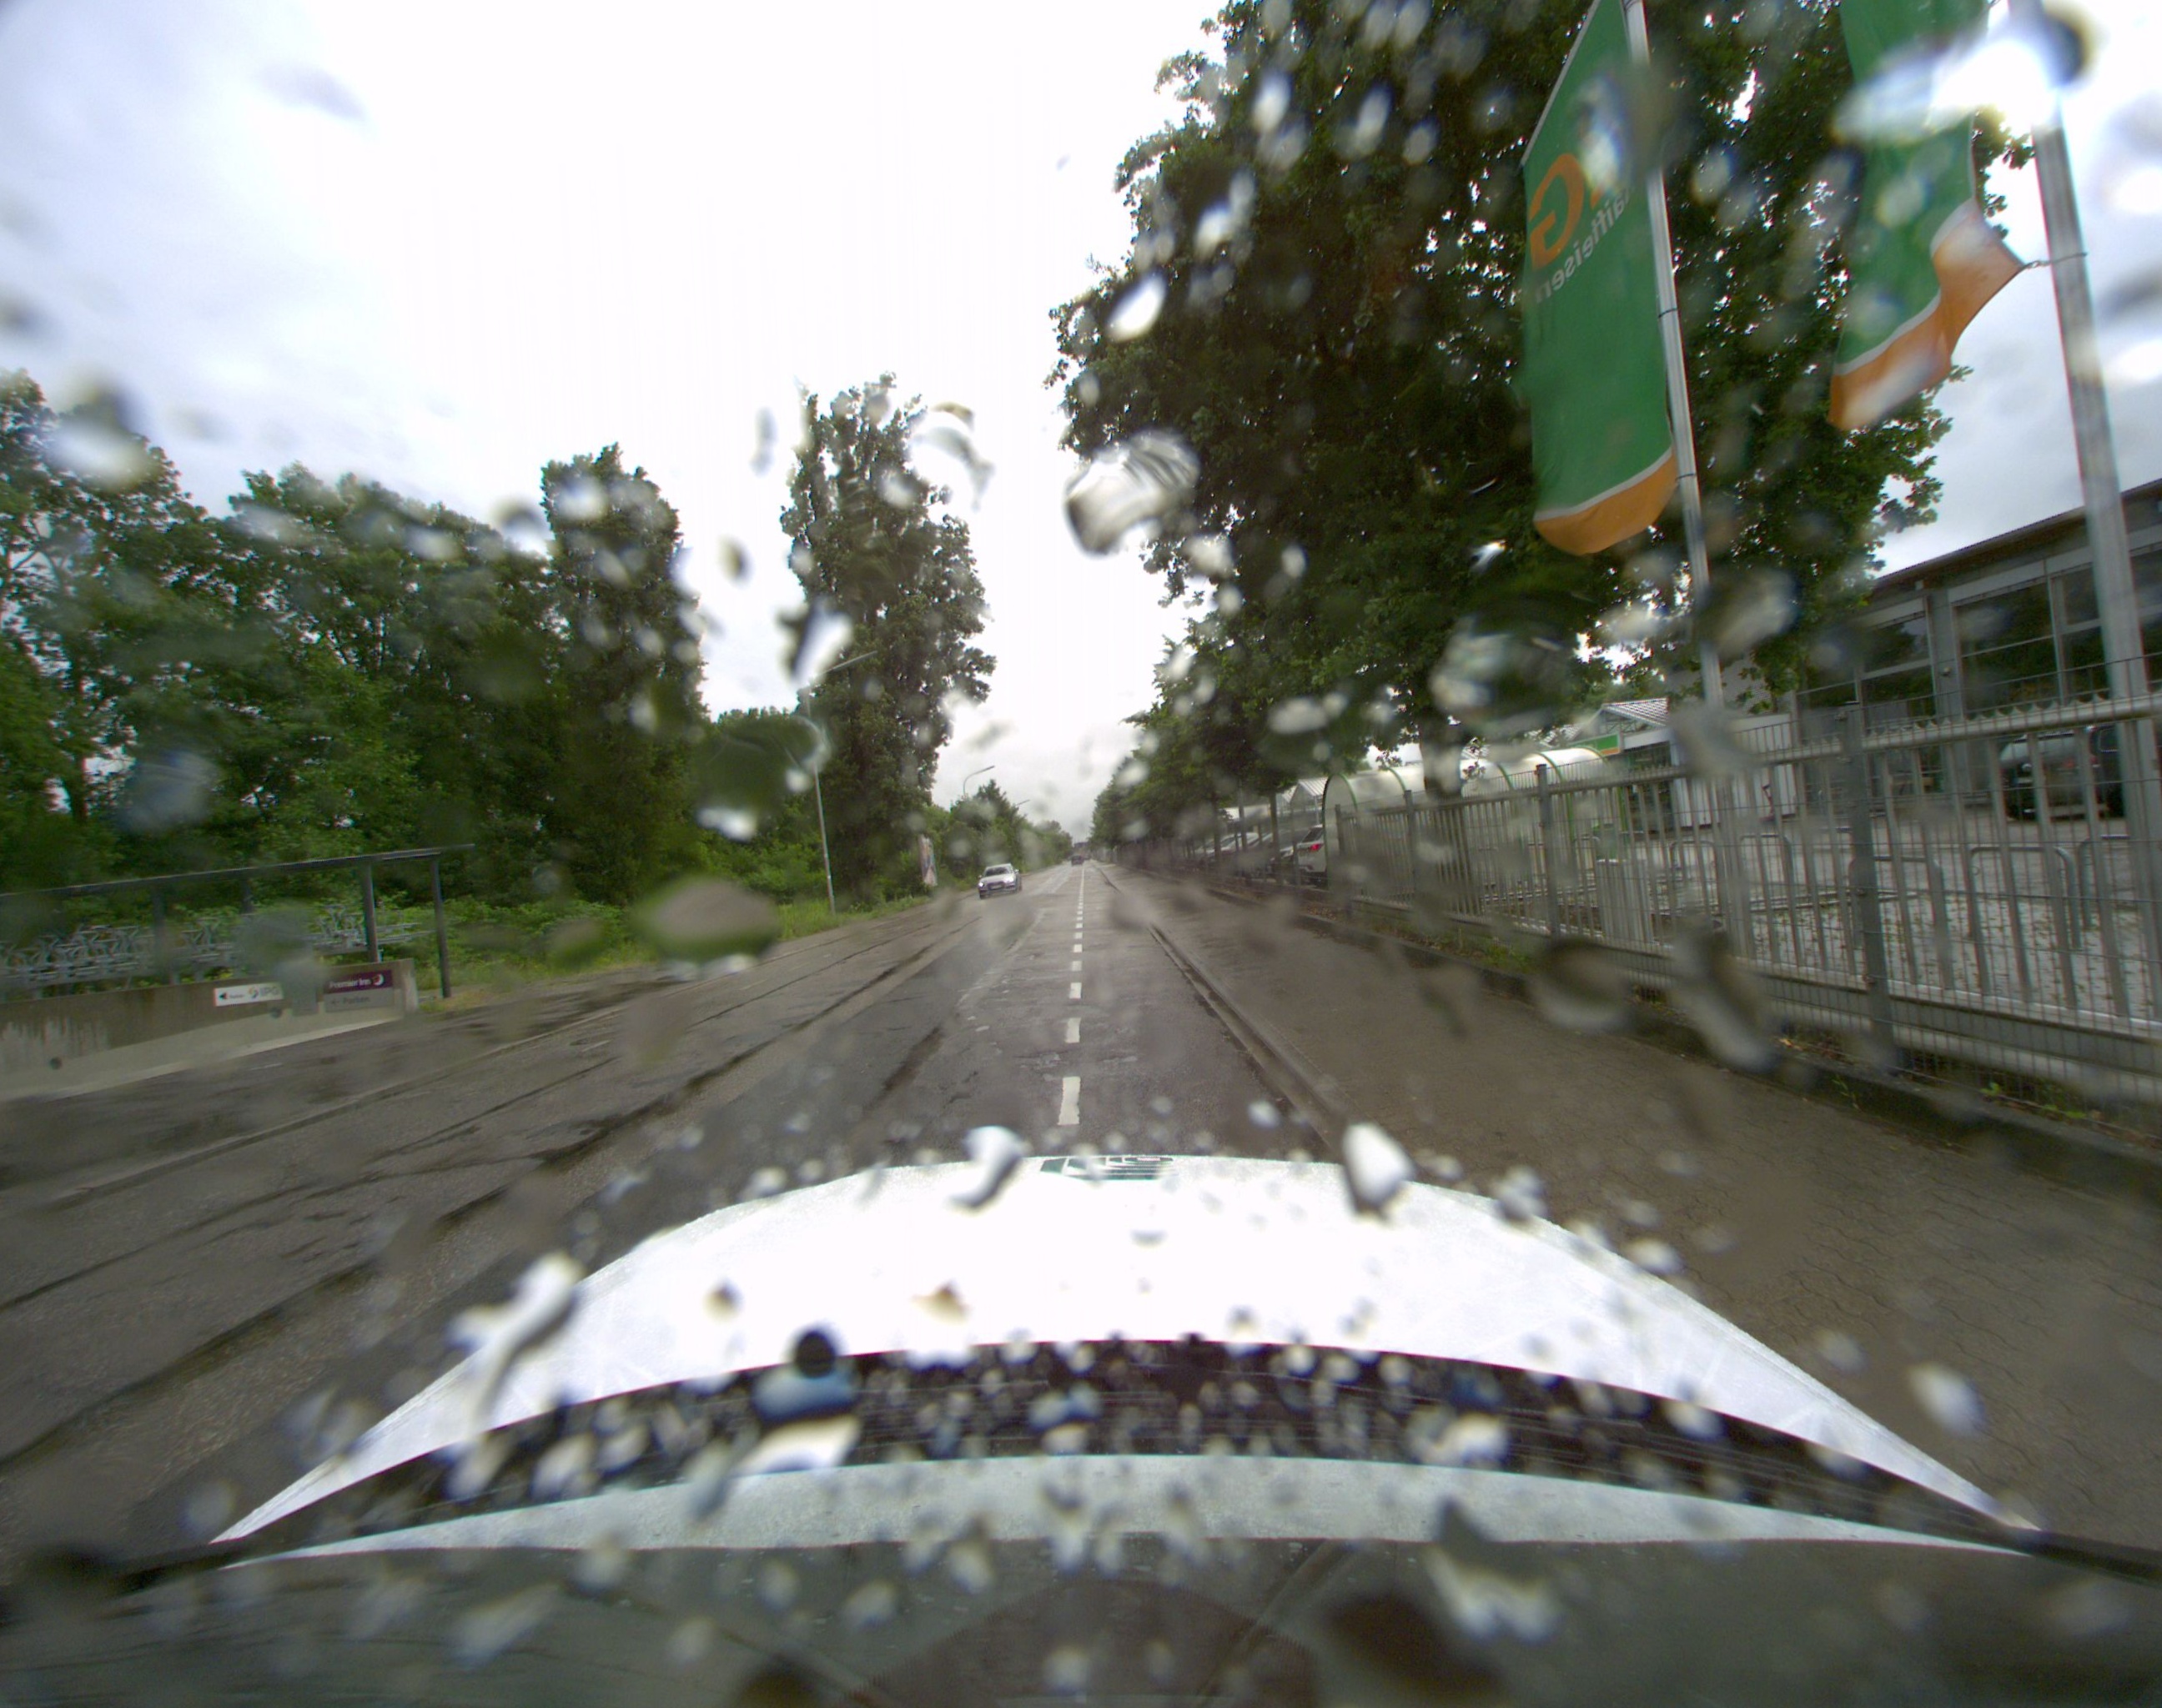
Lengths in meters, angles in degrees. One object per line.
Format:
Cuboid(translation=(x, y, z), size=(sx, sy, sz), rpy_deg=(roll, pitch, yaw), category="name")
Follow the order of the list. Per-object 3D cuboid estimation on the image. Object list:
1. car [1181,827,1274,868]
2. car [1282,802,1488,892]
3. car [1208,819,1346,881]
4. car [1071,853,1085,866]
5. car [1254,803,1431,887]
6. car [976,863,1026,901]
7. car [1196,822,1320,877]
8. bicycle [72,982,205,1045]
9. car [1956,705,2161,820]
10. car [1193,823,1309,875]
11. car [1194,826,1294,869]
Cuboid(translation=(7.409, -0.302, 41.470), size=(4.205, 1.588, 1.819), rpy_deg=(-7, 0, -8), category="car")
Cuboid(translation=(7.281, -0.163, 19.778), size=(4.197, 1.600, 1.823), rpy_deg=(-7, 0, -1), category="car")
Cuboid(translation=(6.799, -0.134, 28.525), size=(4.205, 1.618, 1.819), rpy_deg=(-7, 0, -8), category="car")
Cuboid(translation=(-0.451, 0.944, 132.000), size=(1.988, 1.910, 4.199), rpy_deg=(-7, -1, -1), category="car")
Cuboid(translation=(7.215, -0.250, 22.668), size=(4.205, 1.794, 1.819), rpy_deg=(-7, 0, -8), category="car")
Cuboid(translation=(-3.818, 1.302, 39.647), size=(1.728, 1.450, 4.382), rpy_deg=(-9, 0, 1), category="car")
Cuboid(translation=(6.780, -0.165, 31.397), size=(4.205, 1.618, 1.819), rpy_deg=(-7, 0, -8), category="car")
Cuboid(translation=(-18.583, 3.123, 16.118), size=(0.514, 0.858, 1.704), rpy_deg=(-8, 0, 1), category="bicycle")
Cuboid(translation=(20.272, -1.867, 15.724), size=(4.347, 1.832, 2.064), rpy_deg=(-7, 0, 1), category="car")
Cuboid(translation=(6.948, -0.190, 33.540), size=(4.205, 1.618, 1.819), rpy_deg=(-7, 0, -8), category="car")
Cuboid(translation=(7.728, -0.291, 38.816), size=(4.205, 1.533, 1.819), rpy_deg=(-7, 0, -8), category="car")
